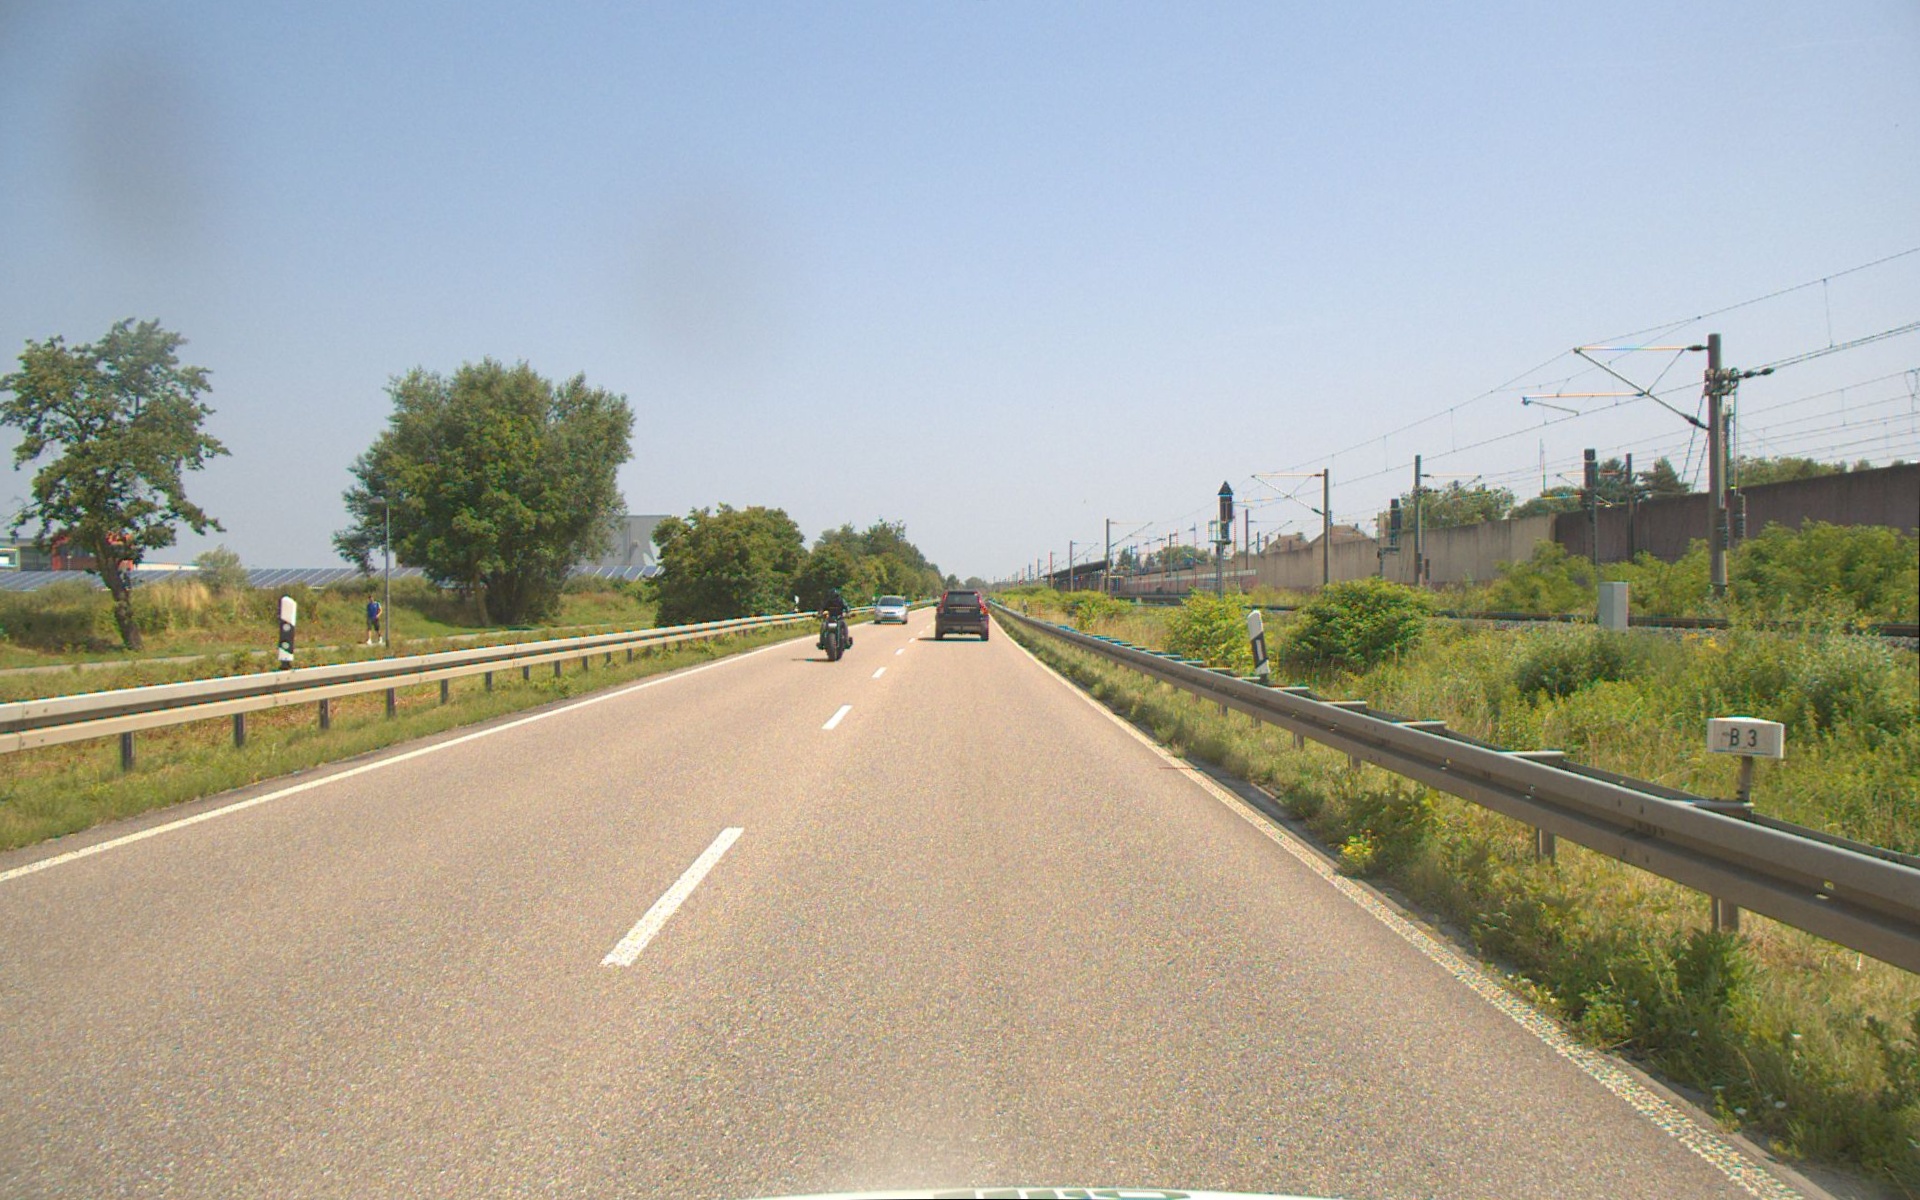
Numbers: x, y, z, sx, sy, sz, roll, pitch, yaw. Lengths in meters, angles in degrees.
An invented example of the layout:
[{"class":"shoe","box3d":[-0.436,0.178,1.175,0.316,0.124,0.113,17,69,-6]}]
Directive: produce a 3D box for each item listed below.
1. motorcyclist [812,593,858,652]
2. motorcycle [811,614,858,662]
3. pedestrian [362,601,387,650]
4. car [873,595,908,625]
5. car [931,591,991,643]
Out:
[{"class":"motorcyclist","box3d":[-2.876,0.514,38.273,0.973,1.332,0.935,1,0,0]},{"class":"motorcycle","box3d":[-2.894,0.857,38.288,0.909,1.046,2.268,1,0,0]},{"class":"pedestrian","box3d":[-21.905,0.953,61.915,0.566,1.780,0.821,-2,0,4]},{"class":"car","box3d":[-3.694,0.523,88.404,1.663,1.500,4.686,1,0,0]},{"class":"car","box3d":[0.005,0.573,57.746,1.953,1.730,3.998,0,0,-2]}]
